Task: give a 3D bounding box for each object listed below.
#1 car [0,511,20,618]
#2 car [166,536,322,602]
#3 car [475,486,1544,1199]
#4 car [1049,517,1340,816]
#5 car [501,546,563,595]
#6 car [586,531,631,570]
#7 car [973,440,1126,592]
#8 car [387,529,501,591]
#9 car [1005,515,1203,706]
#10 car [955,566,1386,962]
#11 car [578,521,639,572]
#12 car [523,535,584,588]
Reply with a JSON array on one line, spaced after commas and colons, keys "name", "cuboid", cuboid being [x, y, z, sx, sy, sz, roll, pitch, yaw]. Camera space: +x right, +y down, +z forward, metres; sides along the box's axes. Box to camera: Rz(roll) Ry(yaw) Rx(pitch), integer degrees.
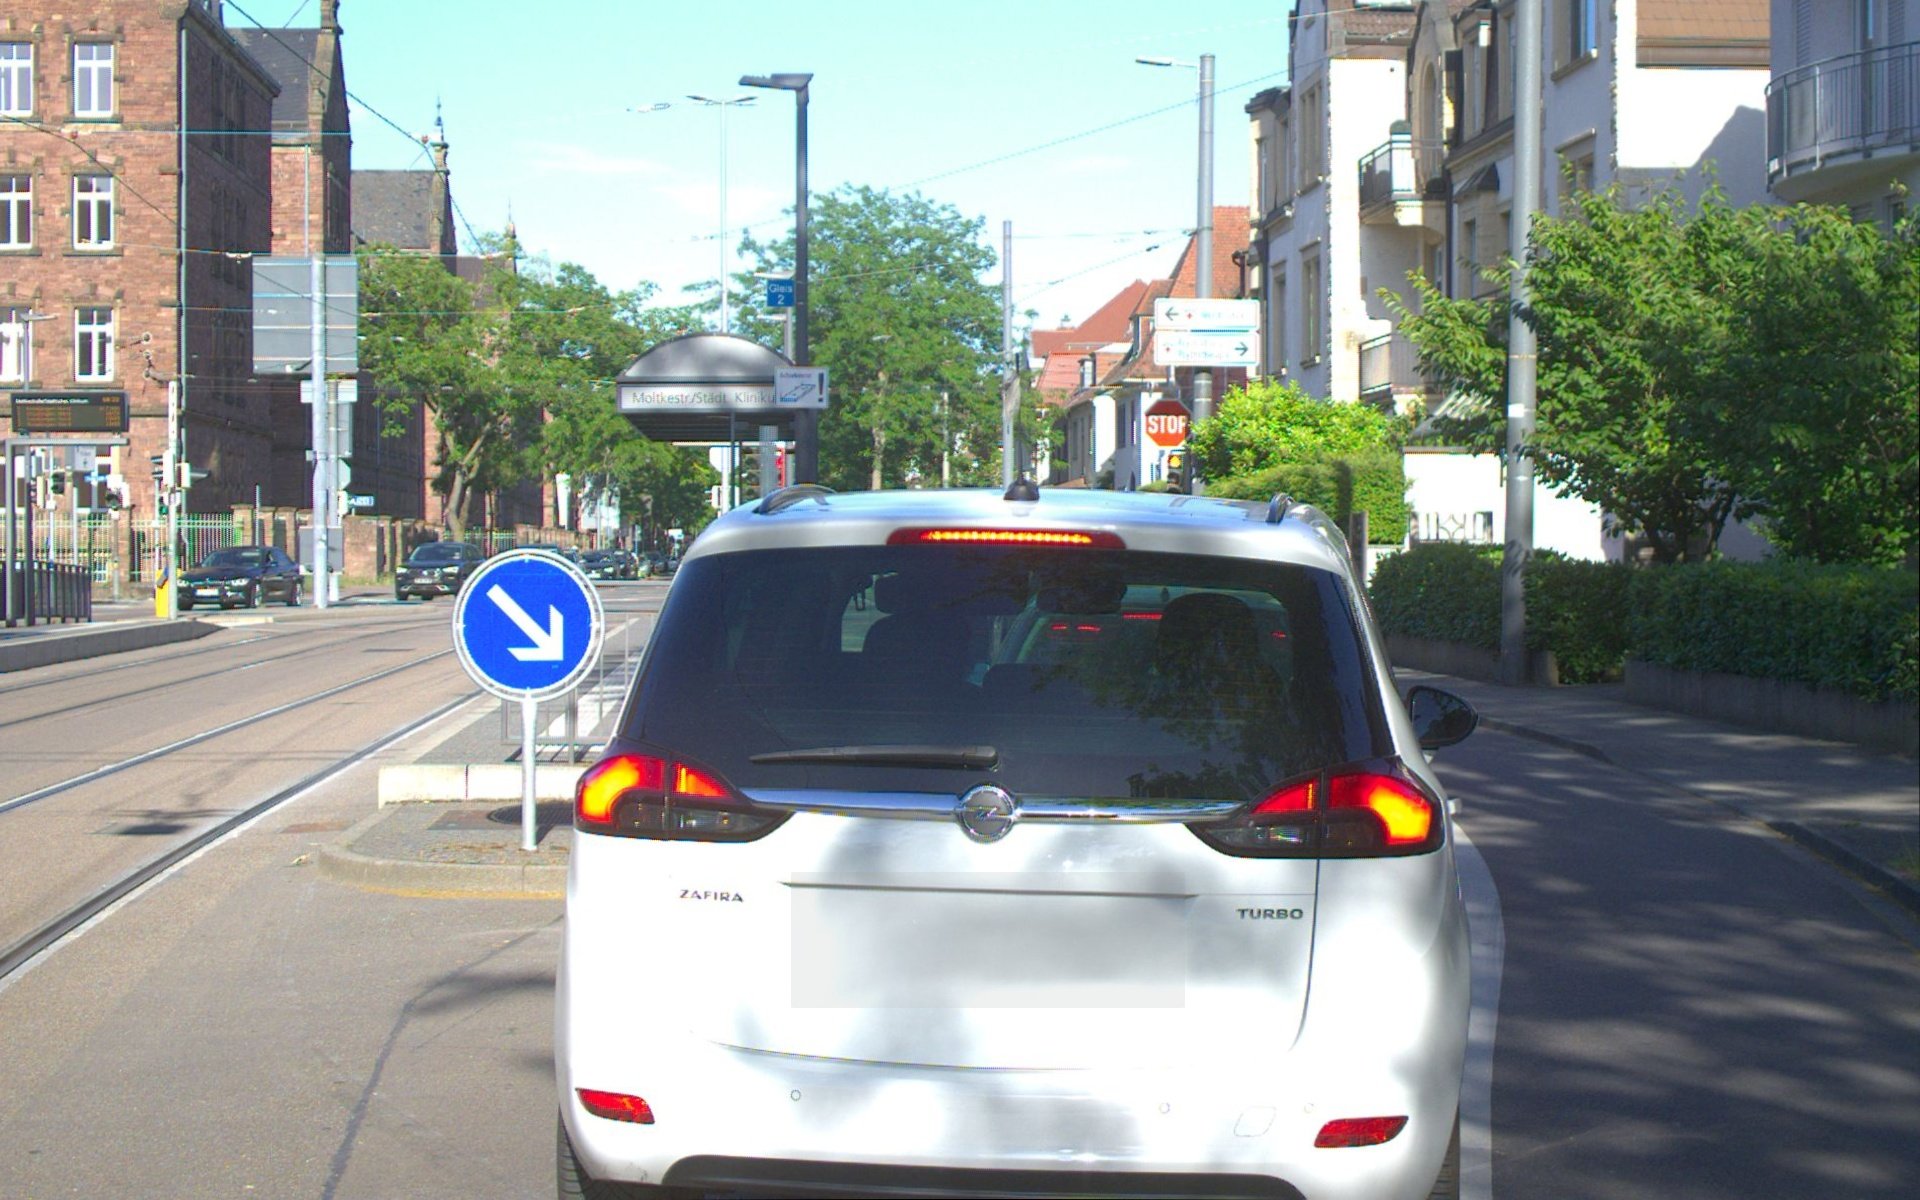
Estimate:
[{"name": "car", "cuboid": [-16.829, -0.580, 56.591, 1.826, 1.782, 4.256, 0, 1, -4]}, {"name": "car", "cuboid": [-15.860, -0.713, 76.381, 1.799, 1.377, 4.493, 0, 1, 11]}, {"name": "car", "cuboid": [0.245, 0.565, 8.089, 1.878, 1.579, 3.999, 1, 1, 5]}, {"name": "car", "cuboid": [1.468, 0.333, 21.035, 1.569, 1.609, 3.783, 2, 1, 5]}, {"name": "car", "cuboid": [-13.017, -0.896, 104.715, 1.826, 1.441, 4.328, 1, 0, -6]}, {"name": "car", "cuboid": [-14.987, -2.118, 146.735, 1.662, 1.645, 4.001, 0, 1, -3]}, {"name": "car", "cuboid": [1.007, -1.024, 40.318, 1.596, 1.629, 3.902, 2, 2, -1]}, {"name": "car", "cuboid": [-13.742, -1.045, 91.807, 1.827, 1.611, 4.326, 1, 0, 8]}, {"name": "car", "cuboid": [1.298, 0.059, 32.302, 1.596, 1.629, 3.901, 2, 1, -1]}, {"name": "car", "cuboid": [0.949, 0.592, 14.786, 1.569, 1.396, 3.783, 2, 1, 5]}, {"name": "car", "cuboid": [-14.089, -2.144, 137.905, 1.993, 2.007, 4.000, 0, 1, 1]}, {"name": "car", "cuboid": [-13.905, -1.299, 117.763, 1.826, 1.782, 4.328, 1, 0, -4]}]
